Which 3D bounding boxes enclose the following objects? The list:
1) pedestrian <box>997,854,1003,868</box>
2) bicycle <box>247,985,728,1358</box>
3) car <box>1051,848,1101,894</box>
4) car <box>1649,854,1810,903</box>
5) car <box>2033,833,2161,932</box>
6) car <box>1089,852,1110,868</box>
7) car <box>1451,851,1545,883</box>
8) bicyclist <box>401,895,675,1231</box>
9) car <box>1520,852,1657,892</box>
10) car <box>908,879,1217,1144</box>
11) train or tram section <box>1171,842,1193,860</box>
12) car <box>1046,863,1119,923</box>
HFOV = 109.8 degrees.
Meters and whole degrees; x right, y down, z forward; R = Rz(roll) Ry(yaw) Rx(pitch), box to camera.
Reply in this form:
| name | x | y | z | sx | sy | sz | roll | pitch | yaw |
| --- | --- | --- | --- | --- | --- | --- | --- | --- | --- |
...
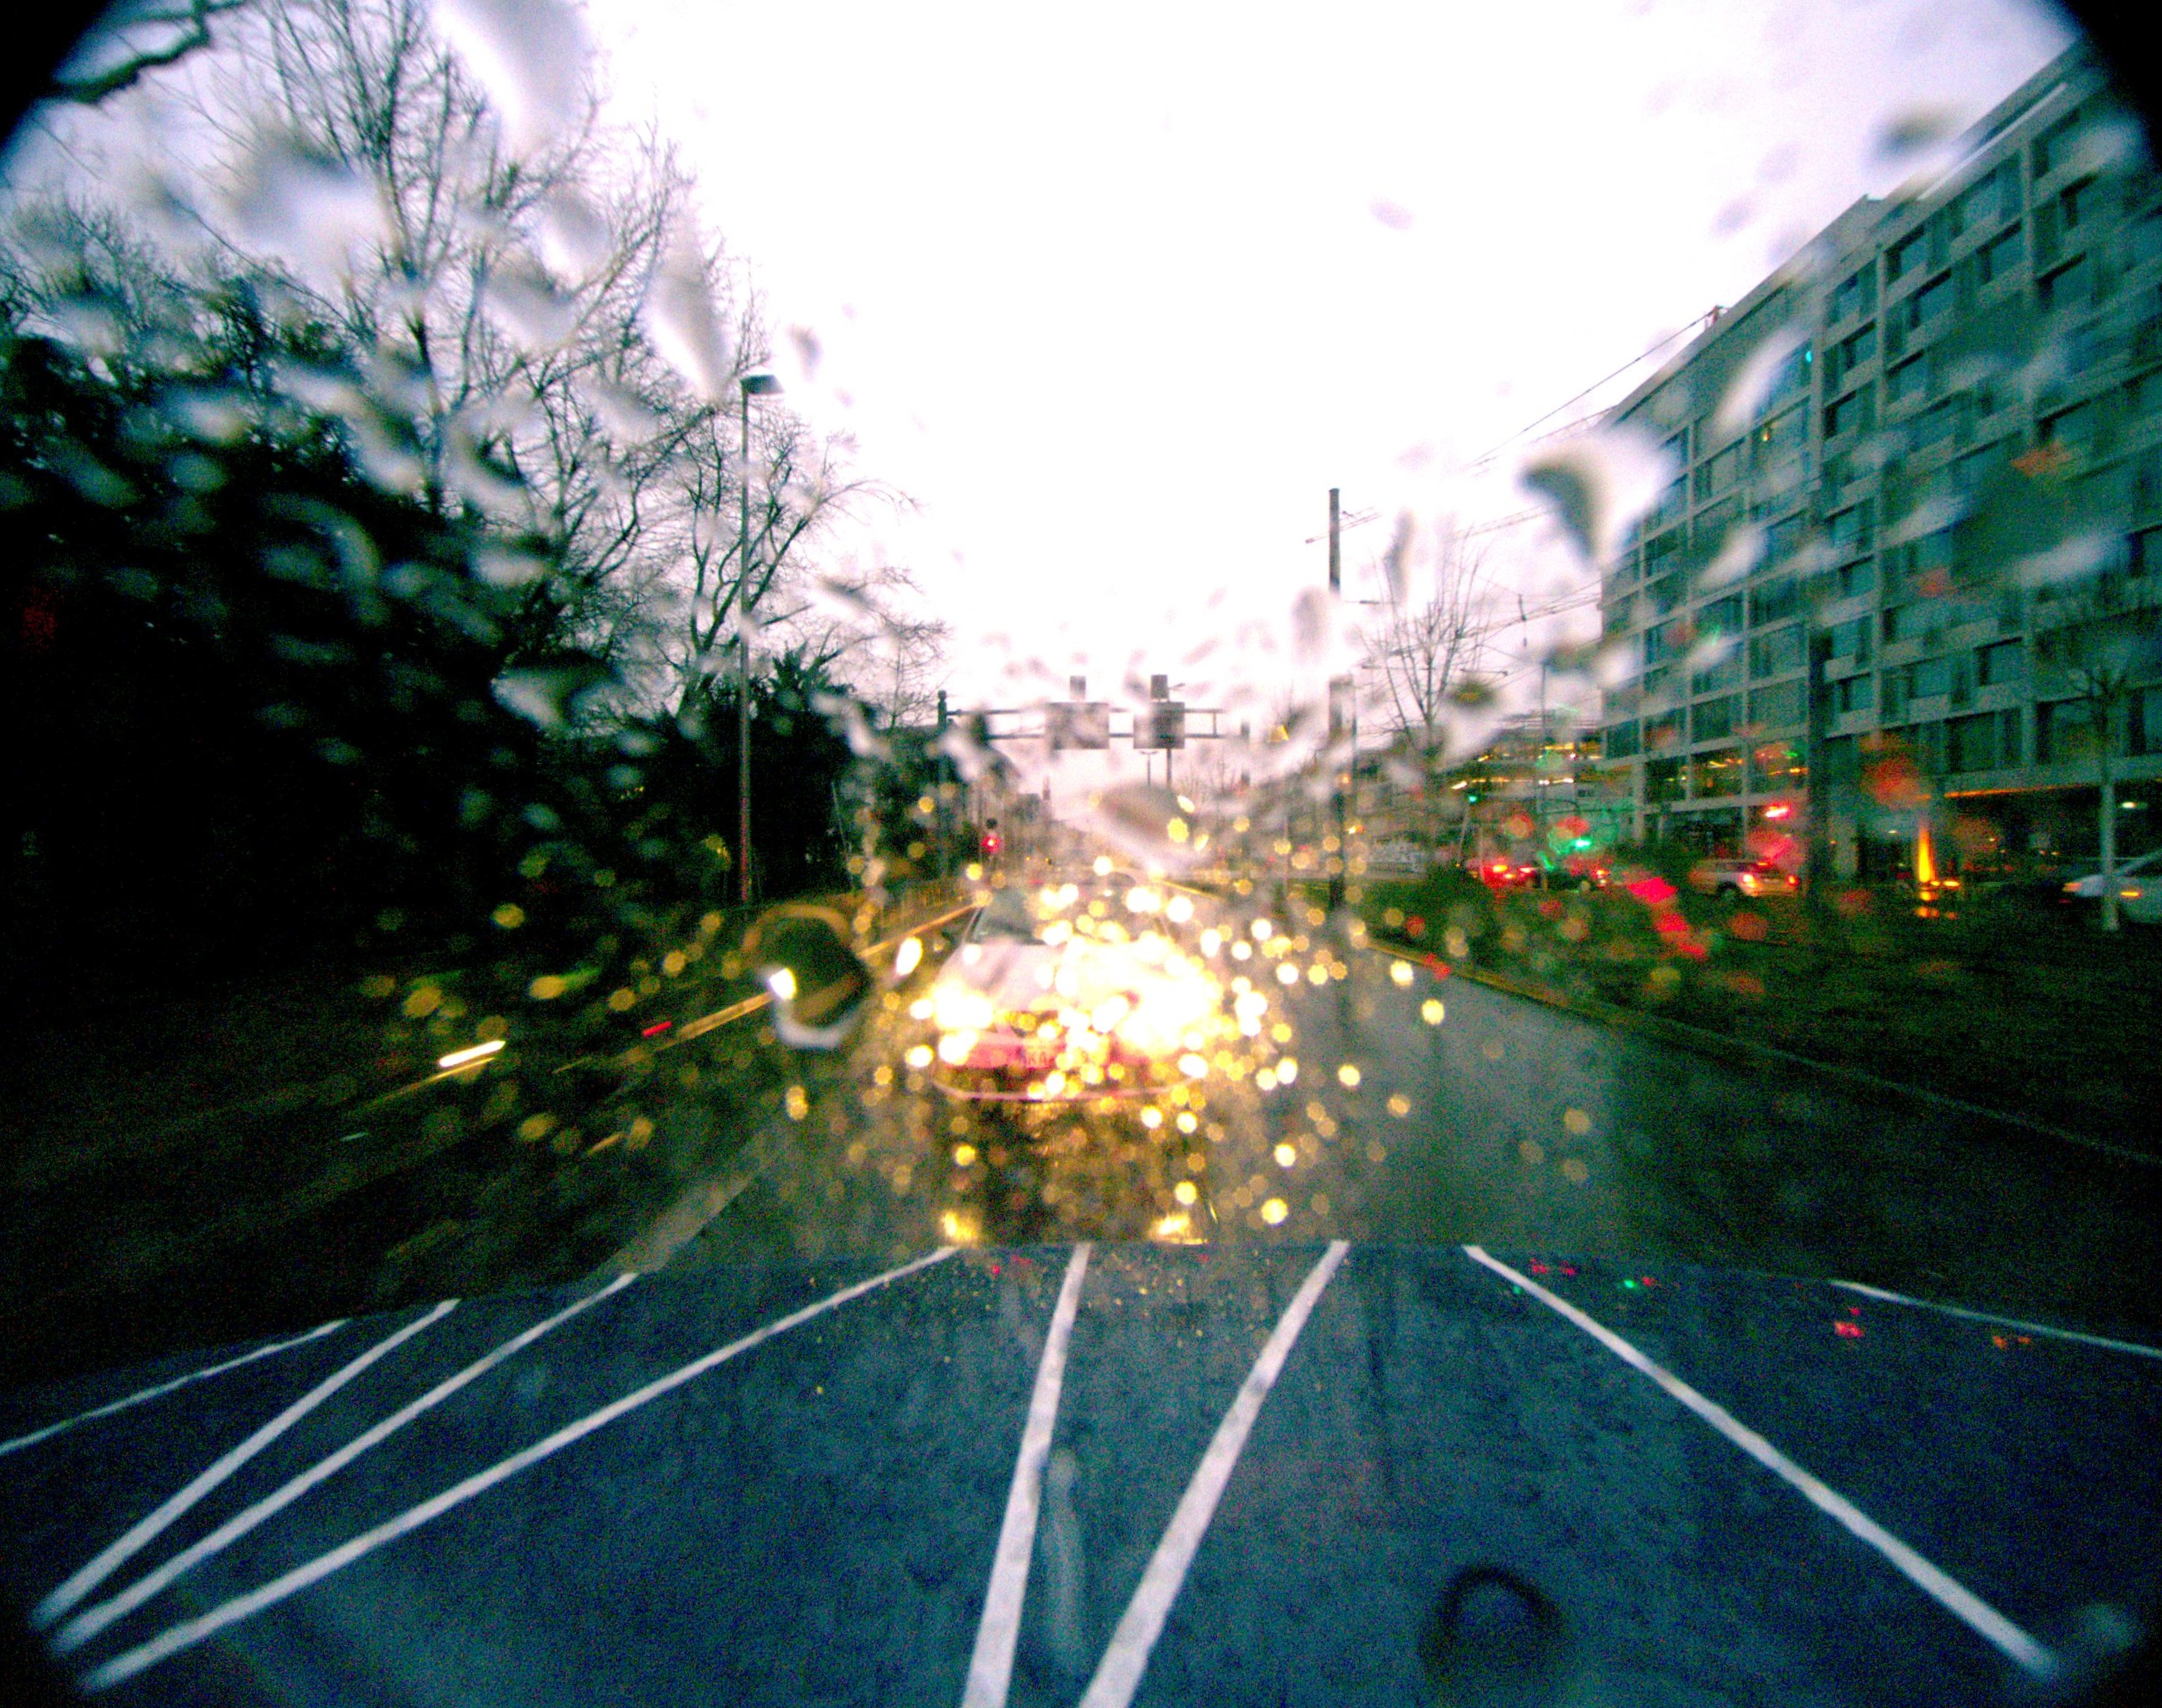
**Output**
| name | x | y | z | sx | sy | sz | roll | pitch | yaw |
| --- | --- | --- | --- | --- | --- | --- | --- | --- | --- |
| pedestrian | -9.323 | 0.800 | 87.444 | 0.521 | 1.501 | 0.588 | 0 | 1 | 1 |
| bicycle | -2.578 | 1.296 | 3.708 | 0.647 | 0.961 | 2.047 | 0 | 0 | 3 |
| car | -0.180 | 0.622 | 30.083 | 1.781 | 1.666 | 3.981 | -2 | 1 | 0 |
| car | 20.244 | 0.717 | 23.942 | 1.901 | 1.423 | 3.706 | 0 | 0 | 0 |
| car | 19.726 | 0.495 | 12.377 | 1.901 | 1.709 | 5.116 | 0 | 0 | -3 |
| car | 1.701 | 0.516 | 69.593 | 1.767 | 1.363 | 3.981 | -2 | 1 | 2 |
| car | 20.478 | 0.607 | 37.637 | 1.998 | 1.459 | 5.034 | 0 | 0 | 1 |
| bicyclist | -2.555 | 0.916 | 3.684 | 0.647 | 1.381 | 0.890 | 0 | 0 | 3 |
| car | 20.479 | 0.694 | 30.930 | 2.001 | 1.488 | 4.444 | 0 | 0 | -15 |
| car | -0.107 | 1.005 | 6.506 | 1.798 | 1.363 | 3.981 | -2 | 1 | 0 |
| train or tram section | 19.969 | -0.524 | 150.567 | 2.964 | 3.466 | 14.267 | 0 | 0 | 2 |
| car | 0.035 | 0.959 | 20.334 | 1.728 | 1.318 | 3.981 | -2 | 1 | 0 |
